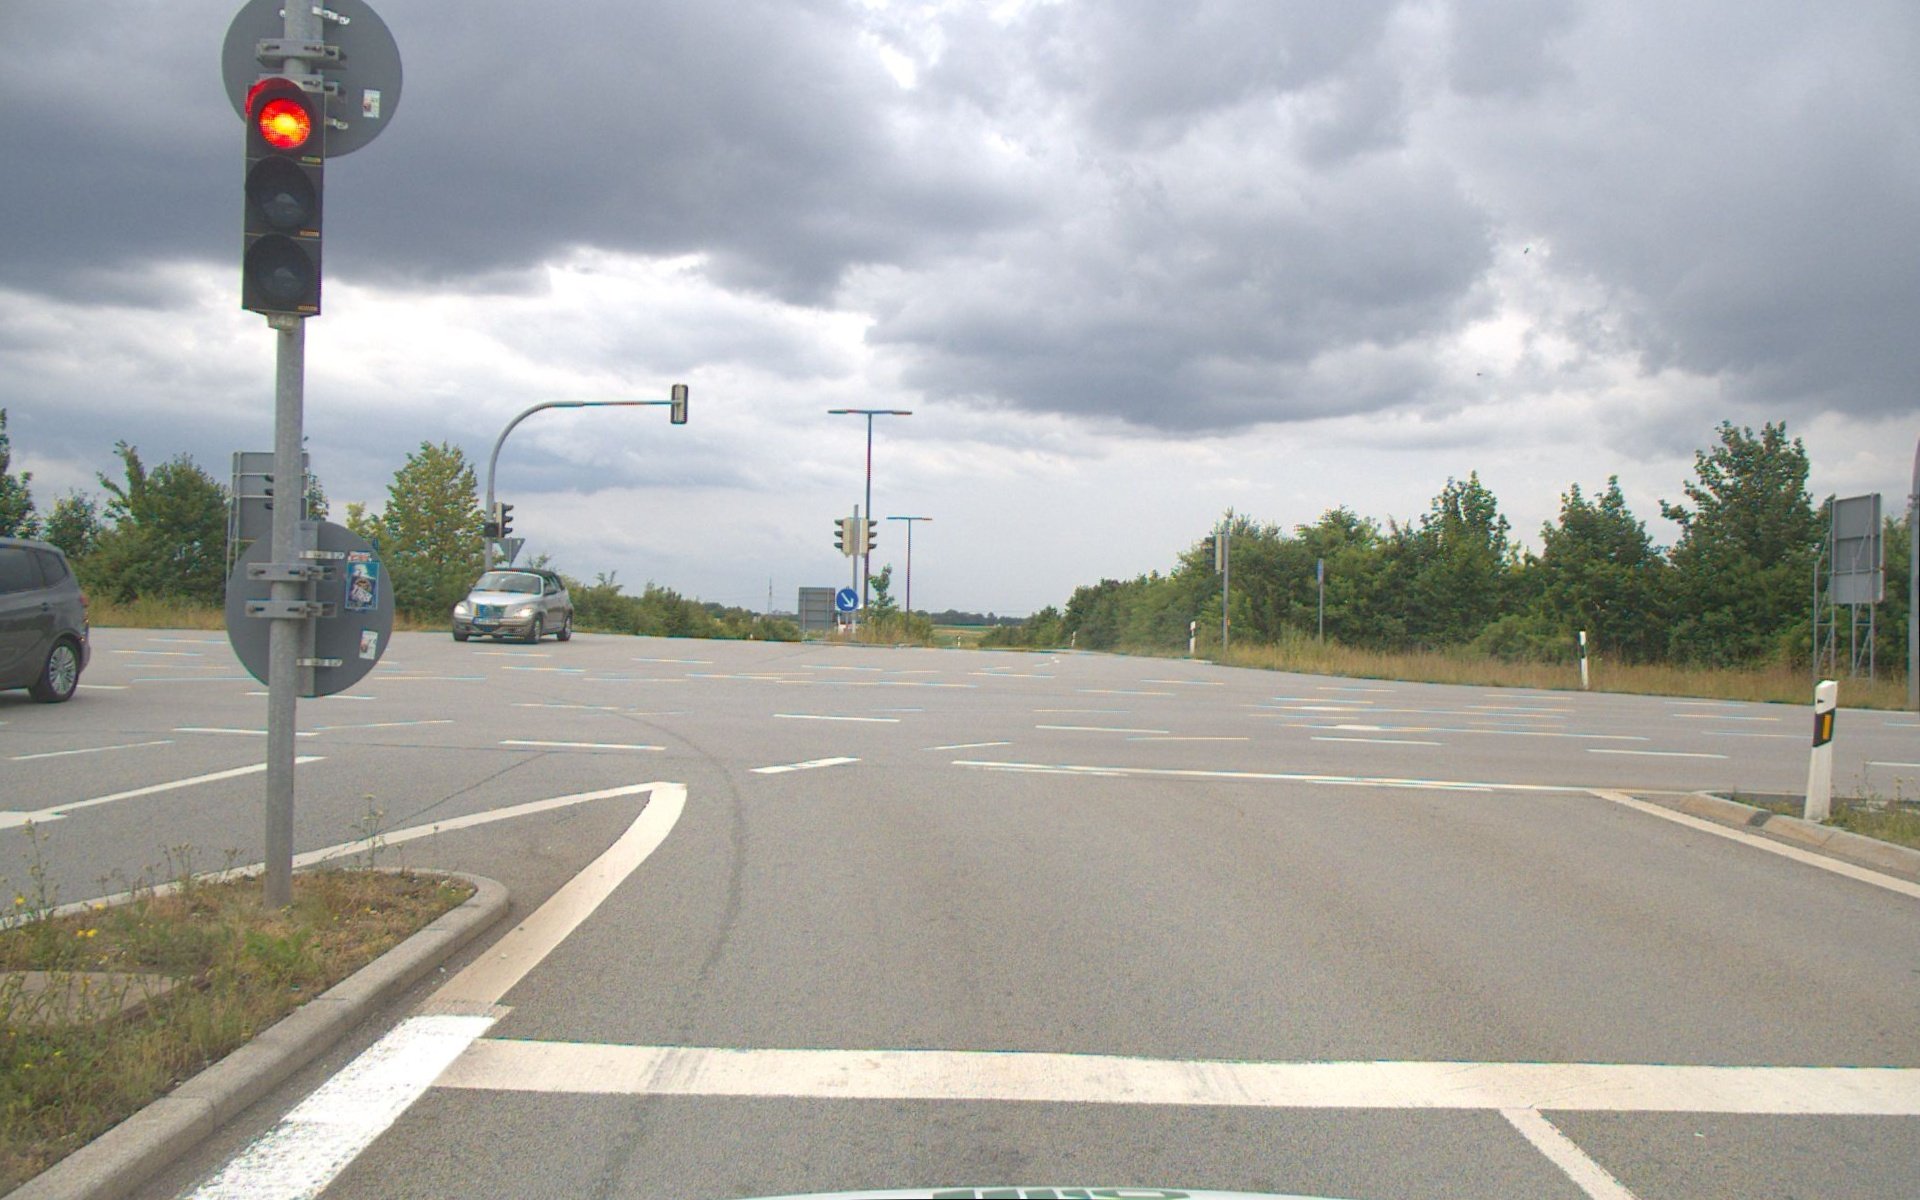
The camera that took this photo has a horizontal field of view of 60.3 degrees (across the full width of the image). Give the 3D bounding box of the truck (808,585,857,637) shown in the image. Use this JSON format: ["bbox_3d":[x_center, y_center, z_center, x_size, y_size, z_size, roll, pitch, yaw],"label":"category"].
[{"bbox_3d":[-8.872,0.833,115.787,2.811,3.468,8.648,1,-1,0],"label":"truck"}]

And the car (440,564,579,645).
[{"bbox_3d":[-9.359,0.044,34.684,1.773,1.546,4.242,2,1,-1],"label":"car"}]

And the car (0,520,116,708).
[{"bbox_3d":[-9.801,0.114,15.072,1.953,1.723,4.454,1,0,-1],"label":"car"}]
